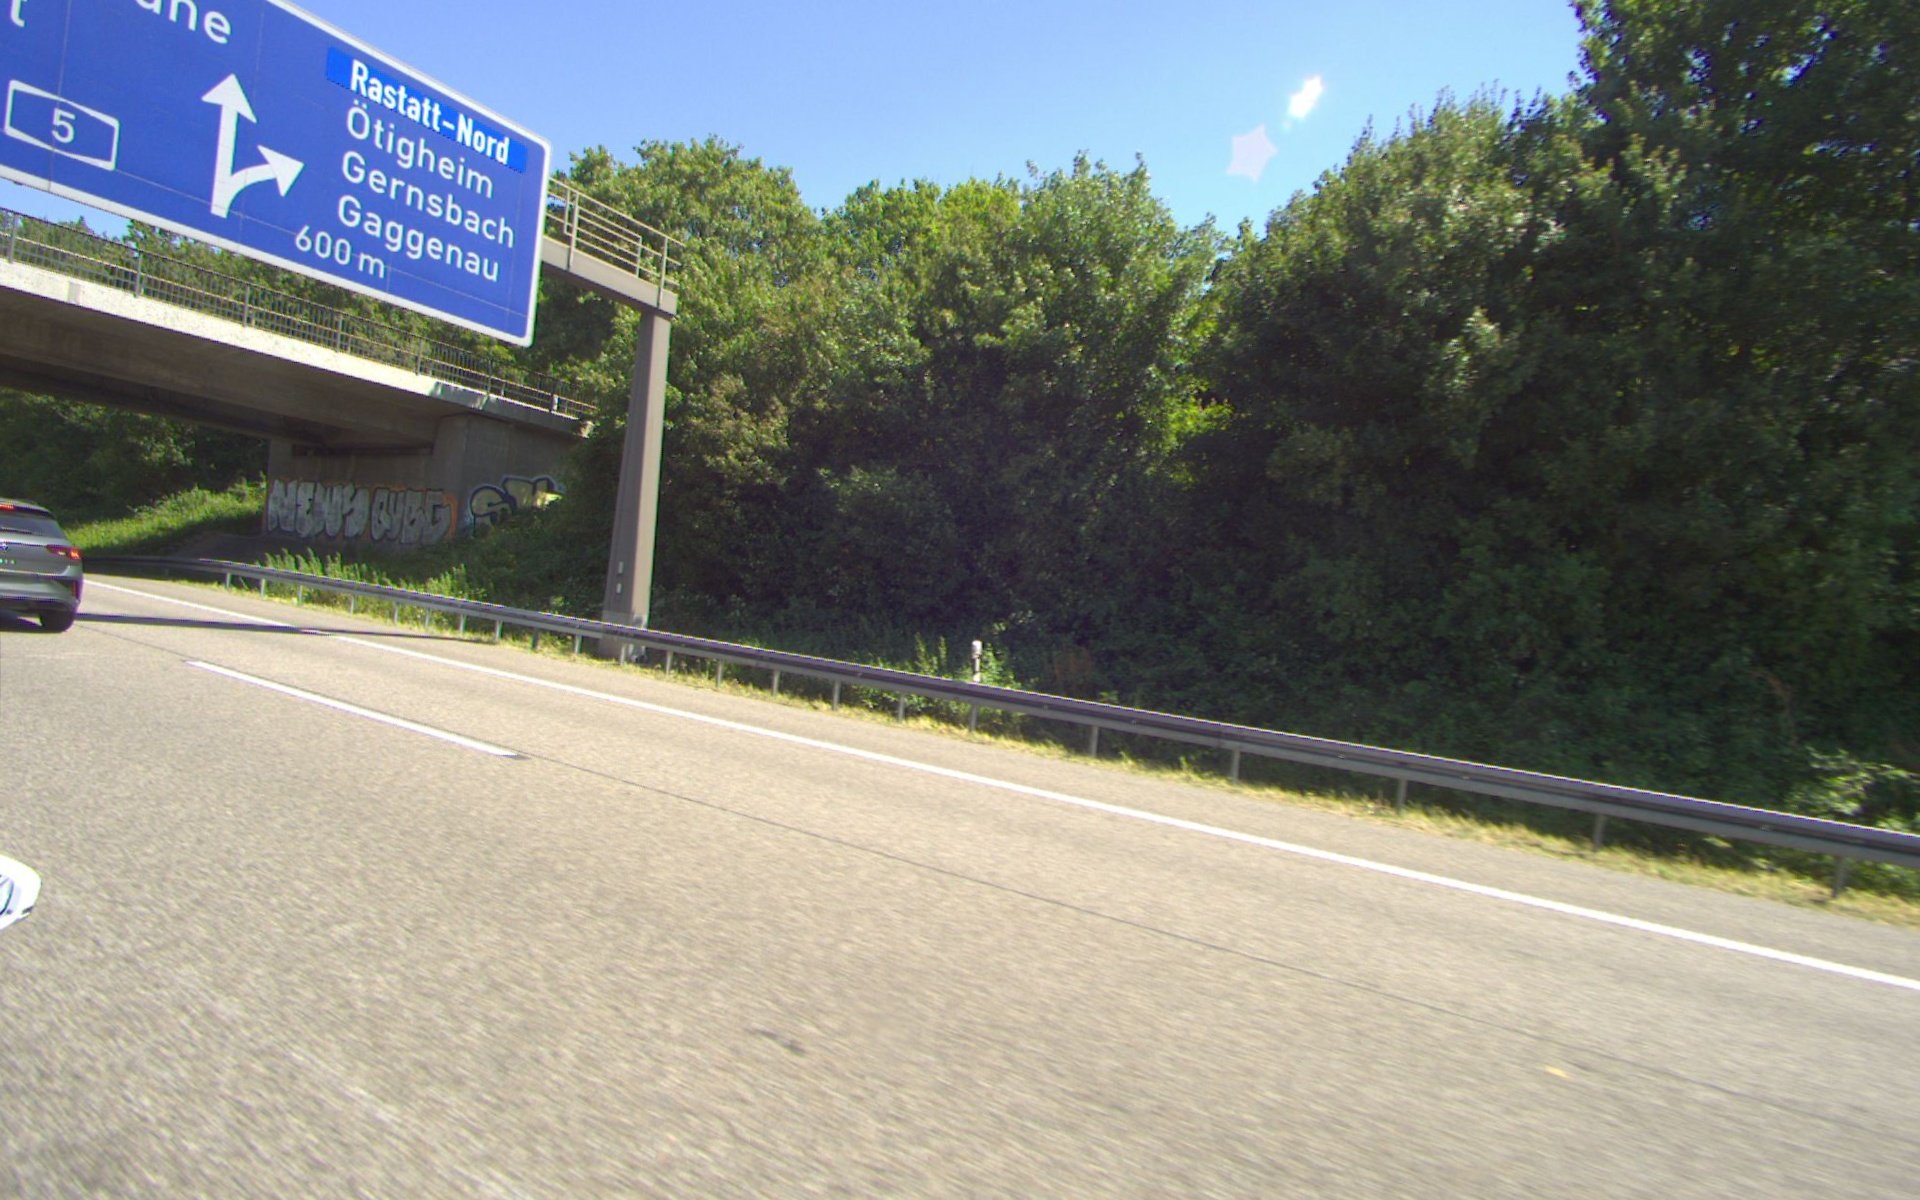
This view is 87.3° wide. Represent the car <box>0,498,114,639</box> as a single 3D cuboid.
[{"bbox_3d":[-12.879,-0.603,12.653,4.680,1.550,1.903,7,-1,31],"label":"car"}]
